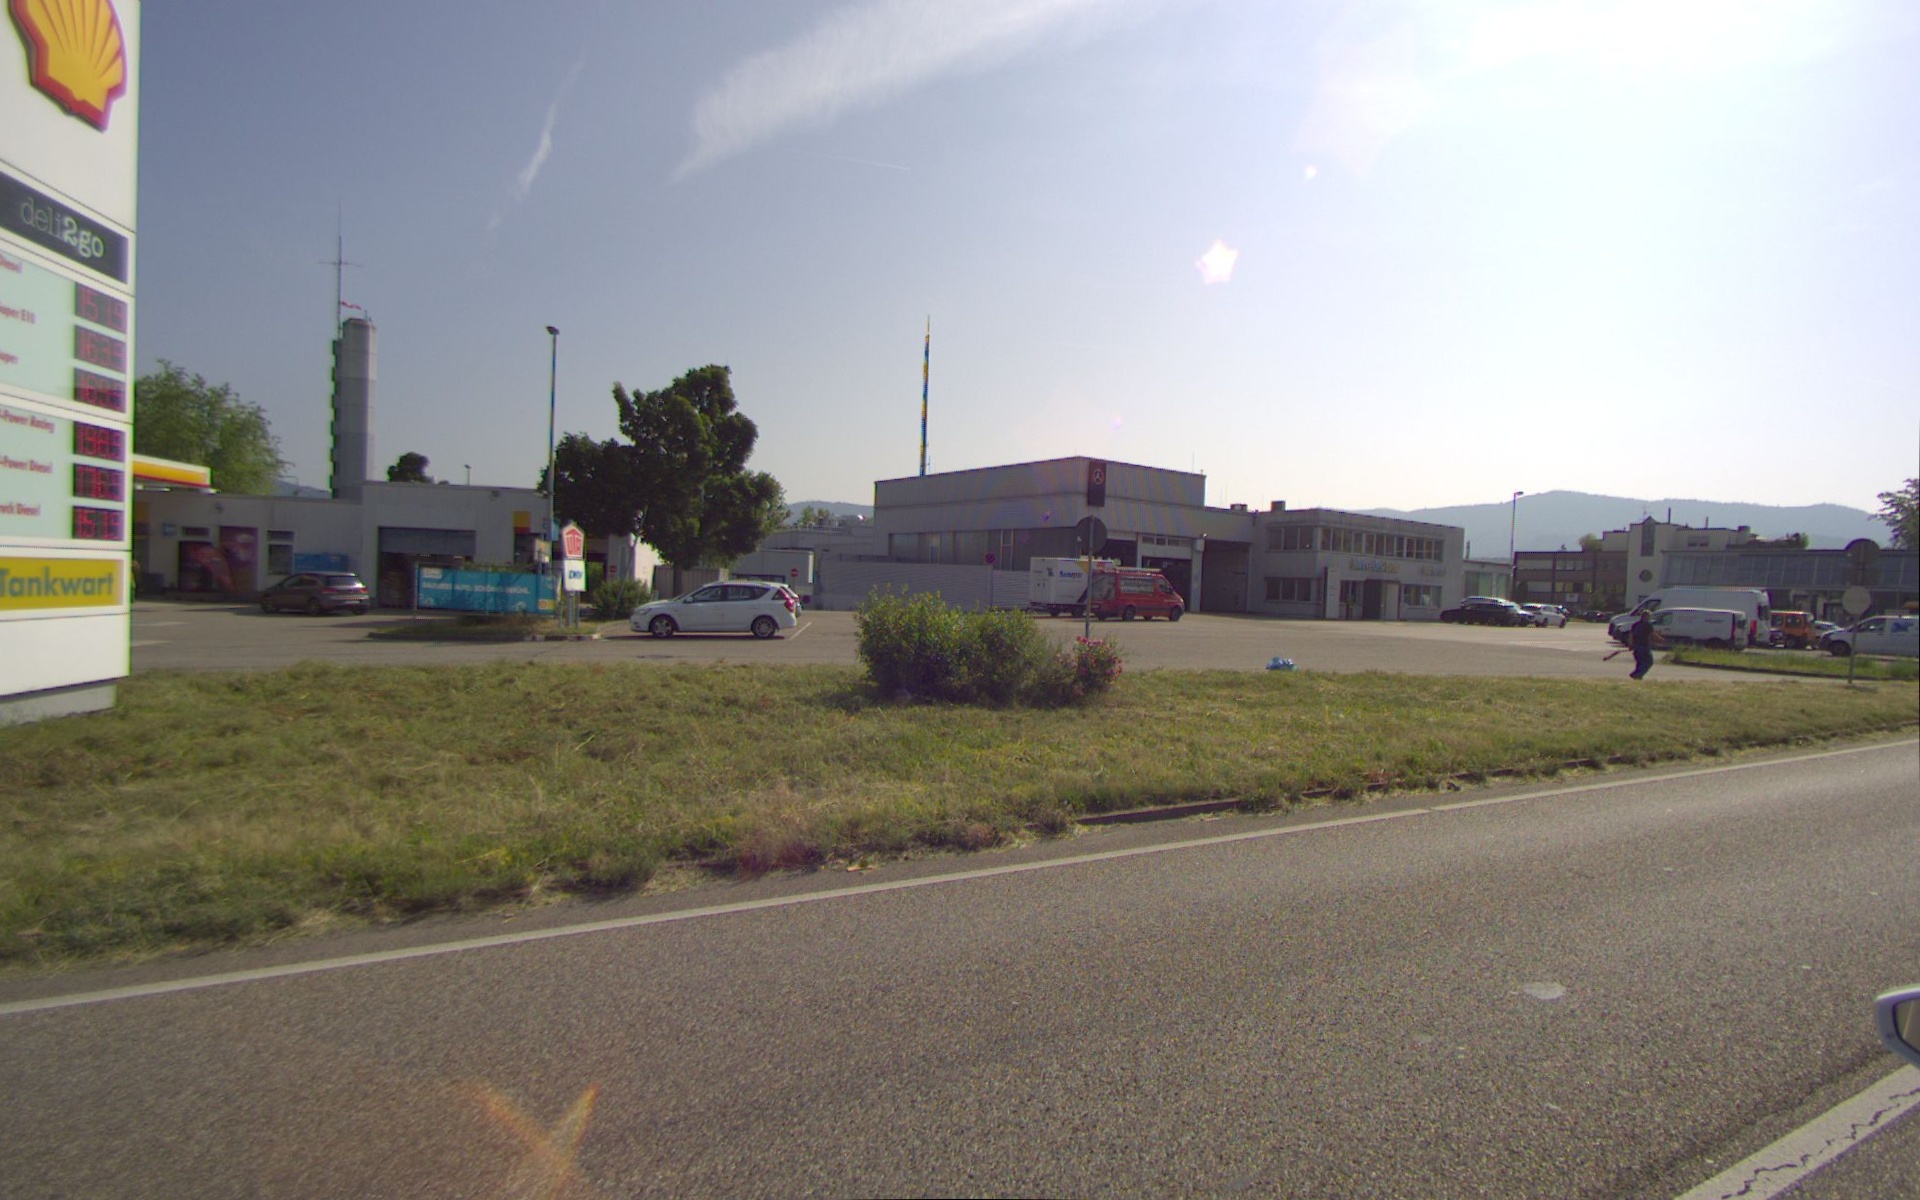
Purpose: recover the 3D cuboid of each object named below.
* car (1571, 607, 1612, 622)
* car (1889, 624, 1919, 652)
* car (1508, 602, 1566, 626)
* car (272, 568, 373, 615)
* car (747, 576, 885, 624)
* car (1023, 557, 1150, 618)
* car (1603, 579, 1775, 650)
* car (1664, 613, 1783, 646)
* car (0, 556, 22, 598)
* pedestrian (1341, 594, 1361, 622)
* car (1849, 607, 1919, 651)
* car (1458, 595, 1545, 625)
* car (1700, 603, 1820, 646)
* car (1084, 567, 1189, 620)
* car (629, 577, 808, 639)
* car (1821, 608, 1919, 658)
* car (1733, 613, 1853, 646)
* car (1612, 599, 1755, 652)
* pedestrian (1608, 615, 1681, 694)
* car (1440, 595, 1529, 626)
[{"bbox_3d":[76.942,1.758,122.420,1.708,1.625,3.973,3,-1,-26],"label":"car"},{"bbox_3d":[52.192,2.099,53.012,4.145,1.422,1.899,3,1,14],"label":"car"},{"bbox_3d":[39.572,0.962,68.852,4.525,1.512,1.792,2,0,-37],"label":"car"},{"bbox_3d":[-22.428,-0.318,35.294,4.250,1.587,1.713,2,1,39],"label":"car"},{"bbox_3d":[-5.141,0.004,35.846,4.592,1.587,1.711,1,1,-23],"label":"car"},{"bbox_3d":[6.427,-0.574,50.606,6.464,2.894,2.378,1,1,-36],"label":"car"},{"bbox_3d":[32.410,0.576,44.859,2.262,2.782,5.683,2,2,-34],"label":"car"},{"bbox_3d":[37.907,1.438,49.947,1.782,1.336,4.349,1,2,-36],"label":"car"},{"bbox_3d":[-35.681,-0.859,35.075,3.921,1.479,1.999,2,1,-1],"label":"car"},{"bbox_3d":[24.298,0.487,62.470,0.843,1.712,0.814,2,0,-38],"label":"pedestrian"},{"bbox_3d":[47.893,1.521,50.211,2.208,2.008,4.757,1,3,-36],"label":"car"},{"bbox_3d":[36.427,0.644,67.702,1.933,1.879,4.784,0,1,-34],"label":"car"},{"bbox_3d":[40.819,1.221,51.345,1.982,1.832,4.349,1,3,-36],"label":"car"},{"bbox_3d":[8.505,-0.277,48.200,5.172,2.418,1.867,1,1,-36],"label":"car"},{"bbox_3d":[-6.563,0.221,27.331,4.583,1.587,1.714,1,1,-17],"label":"car"},{"bbox_3d":[39.949,1.408,42.749,2.123,1.883,4.637,1,2,-36],"label":"car"},{"bbox_3d":[43.178,1.493,52.173,1.948,1.417,4.433,1,2,-36],"label":"car"},{"bbox_3d":[30.331,1.015,42.212,1.968,1.864,4.412,1,2,-36],"label":"car"},{"bbox_3d":[15.490,1.217,22.774,1.121,1.712,0.851,1,0,16],"label":"pedestrian"},{"bbox_3d":[34.586,0.639,66.356,2.188,1.879,4.784,0,1,-34],"label":"car"}]
